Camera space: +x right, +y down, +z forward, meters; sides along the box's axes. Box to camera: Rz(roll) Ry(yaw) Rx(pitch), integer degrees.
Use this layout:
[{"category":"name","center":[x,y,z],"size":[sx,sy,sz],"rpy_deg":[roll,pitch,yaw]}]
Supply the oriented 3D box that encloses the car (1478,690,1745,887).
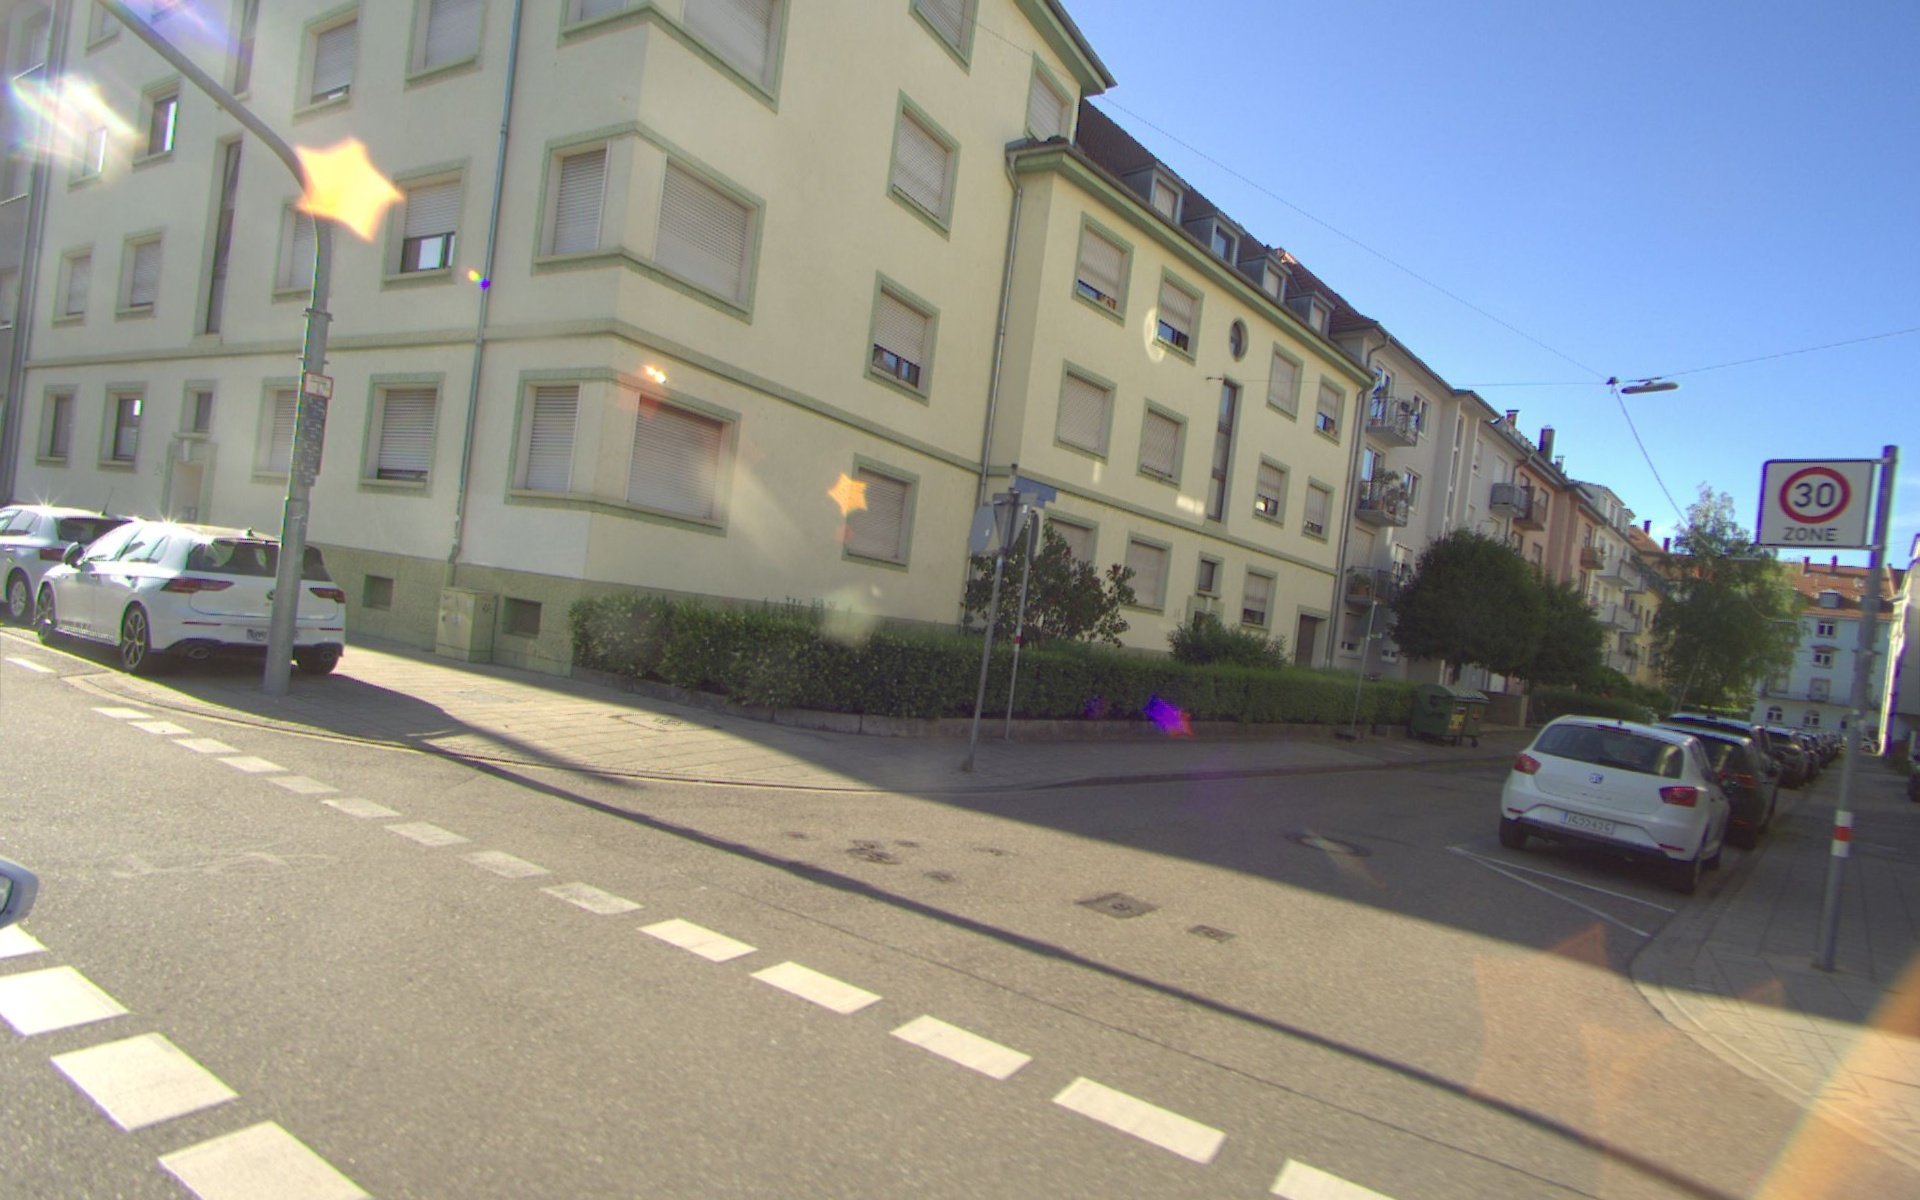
[{"category":"car","center":[6.896,1.914,10.471],"size":[1.689,1.439,3.728],"rpy_deg":[7,-4,42]}]

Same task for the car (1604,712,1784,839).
[{"category":"car","center":[10.887,2.570,14.805],"size":[1.689,1.352,3.959],"rpy_deg":[6,-4,42]}]

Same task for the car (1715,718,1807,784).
[{"category":"car","center":[23.153,4.382,29.033],"size":[1.776,1.478,3.983],"rpy_deg":[7,-4,42]}]

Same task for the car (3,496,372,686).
[{"category":"car","center":[-8.412,-0.139,10.845],"size":[4.307,1.476,1.695],"rpy_deg":[7,0,32]}]

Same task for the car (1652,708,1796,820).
[{"category":"car","center":[14.103,3.024,18.474],"size":[1.689,1.564,4.118],"rpy_deg":[7,-4,42]}]

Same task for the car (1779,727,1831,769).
[{"category":"car","center":[39.403,6.897,46.874],"size":[1.661,1.536,3.844],"rpy_deg":[7,-4,42]}]

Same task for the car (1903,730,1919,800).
[{"category":"car","center":[26.254,4.516,26.495],"size":[1.789,1.734,3.982],"rpy_deg":[7,-4,42]}]

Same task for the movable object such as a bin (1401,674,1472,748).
[{"category":"movable object such as a bin","center":[11.669,2.721,24.614],"size":[1.176,1.576,1.058],"rpy_deg":[7,-3,40]}]

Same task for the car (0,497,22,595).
[{"category":"car","center":[-17.323,-1.117,16.594],"size":[4.119,1.536,1.637],"rpy_deg":[7,1,32]}]

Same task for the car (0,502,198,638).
[{"category":"car","center":[-12.444,-0.491,13.745],"size":[4.011,1.477,1.638],"rpy_deg":[7,1,28]}]
